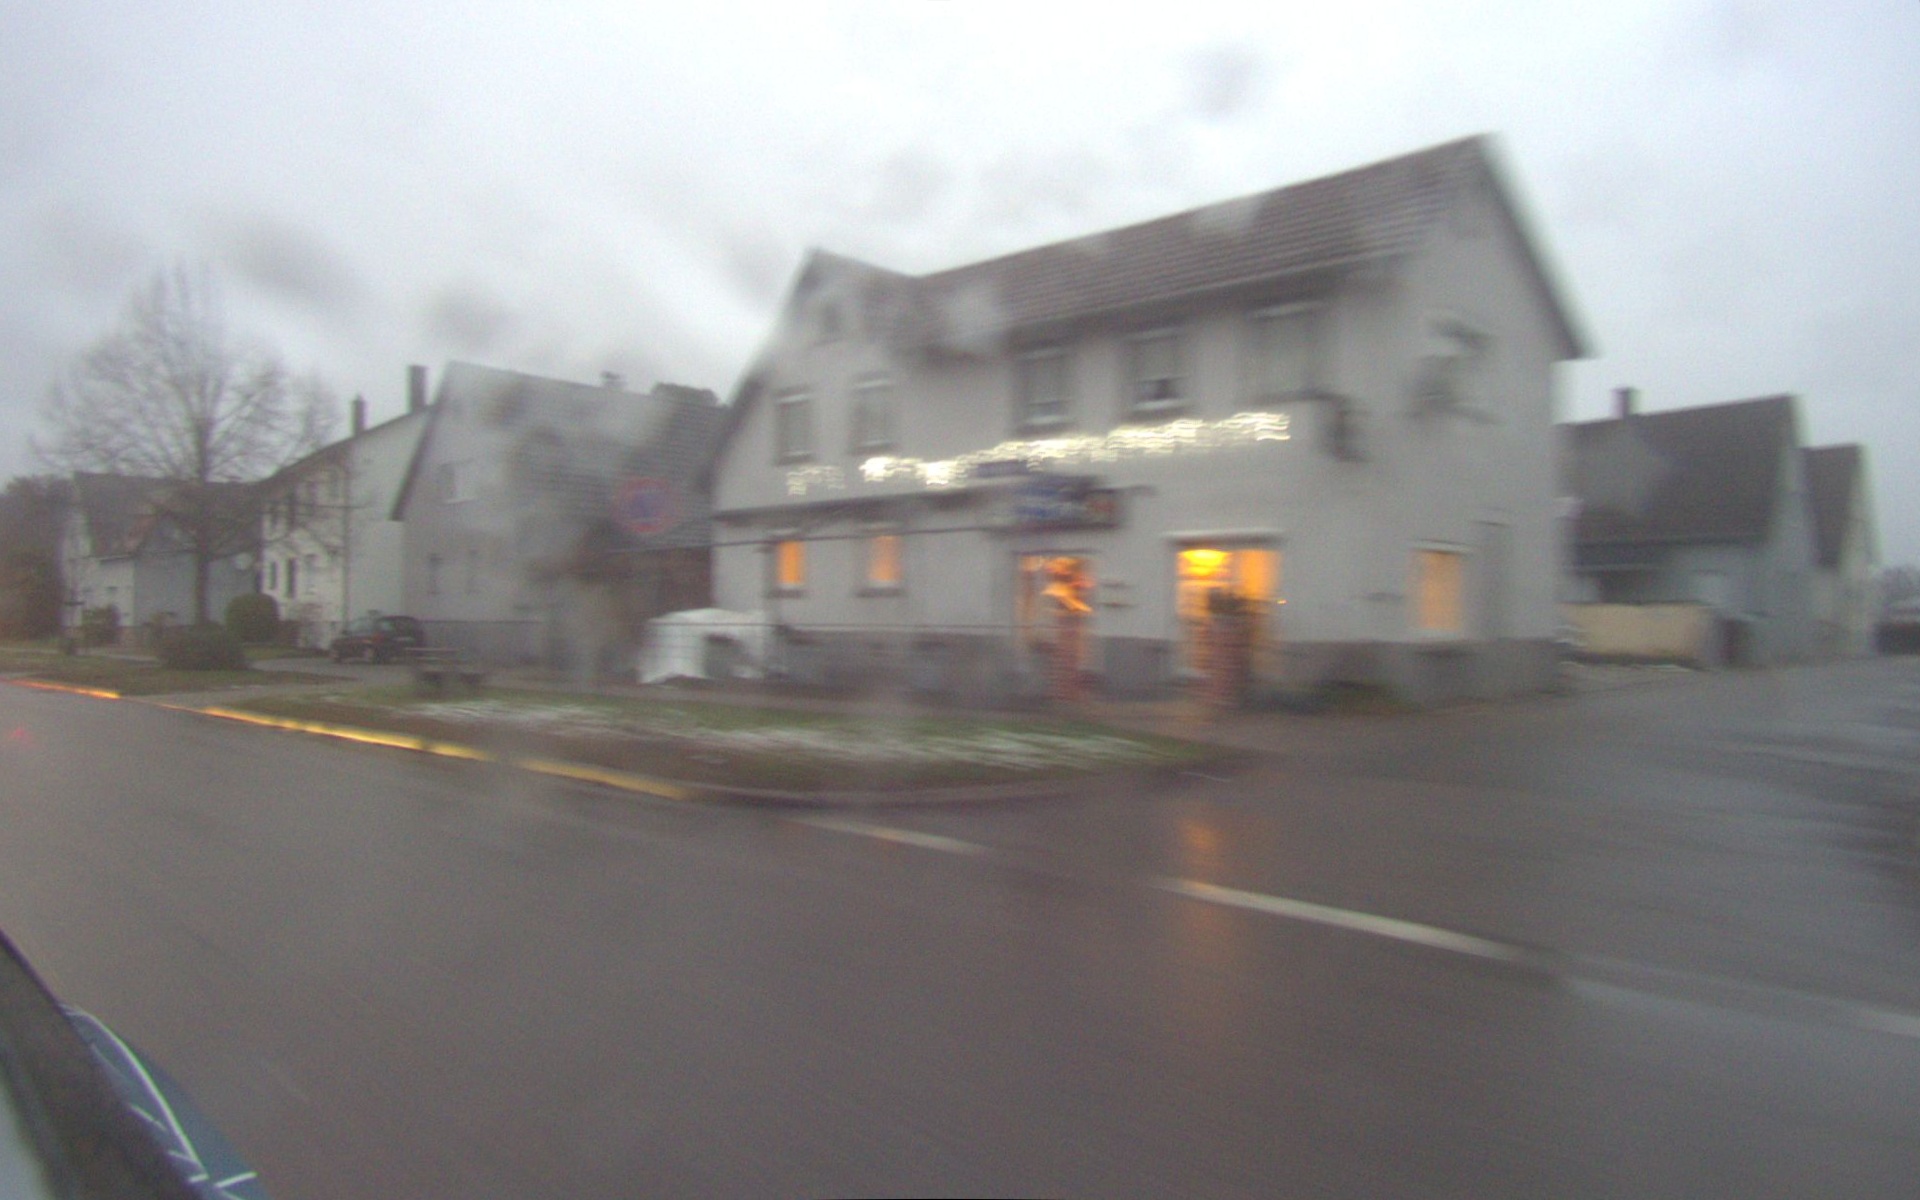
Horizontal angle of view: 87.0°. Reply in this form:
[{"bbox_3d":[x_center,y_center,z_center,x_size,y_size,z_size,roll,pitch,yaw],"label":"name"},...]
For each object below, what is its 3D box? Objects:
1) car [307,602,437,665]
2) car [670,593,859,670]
[{"bbox_3d":[-17.787,0.969,30.555,4.564,1.769,1.973,-1,-1,40],"label":"car"},{"bbox_3d":[-4.976,0.782,26.166,4.499,1.813,1.913,1,-1,-44],"label":"car"}]
